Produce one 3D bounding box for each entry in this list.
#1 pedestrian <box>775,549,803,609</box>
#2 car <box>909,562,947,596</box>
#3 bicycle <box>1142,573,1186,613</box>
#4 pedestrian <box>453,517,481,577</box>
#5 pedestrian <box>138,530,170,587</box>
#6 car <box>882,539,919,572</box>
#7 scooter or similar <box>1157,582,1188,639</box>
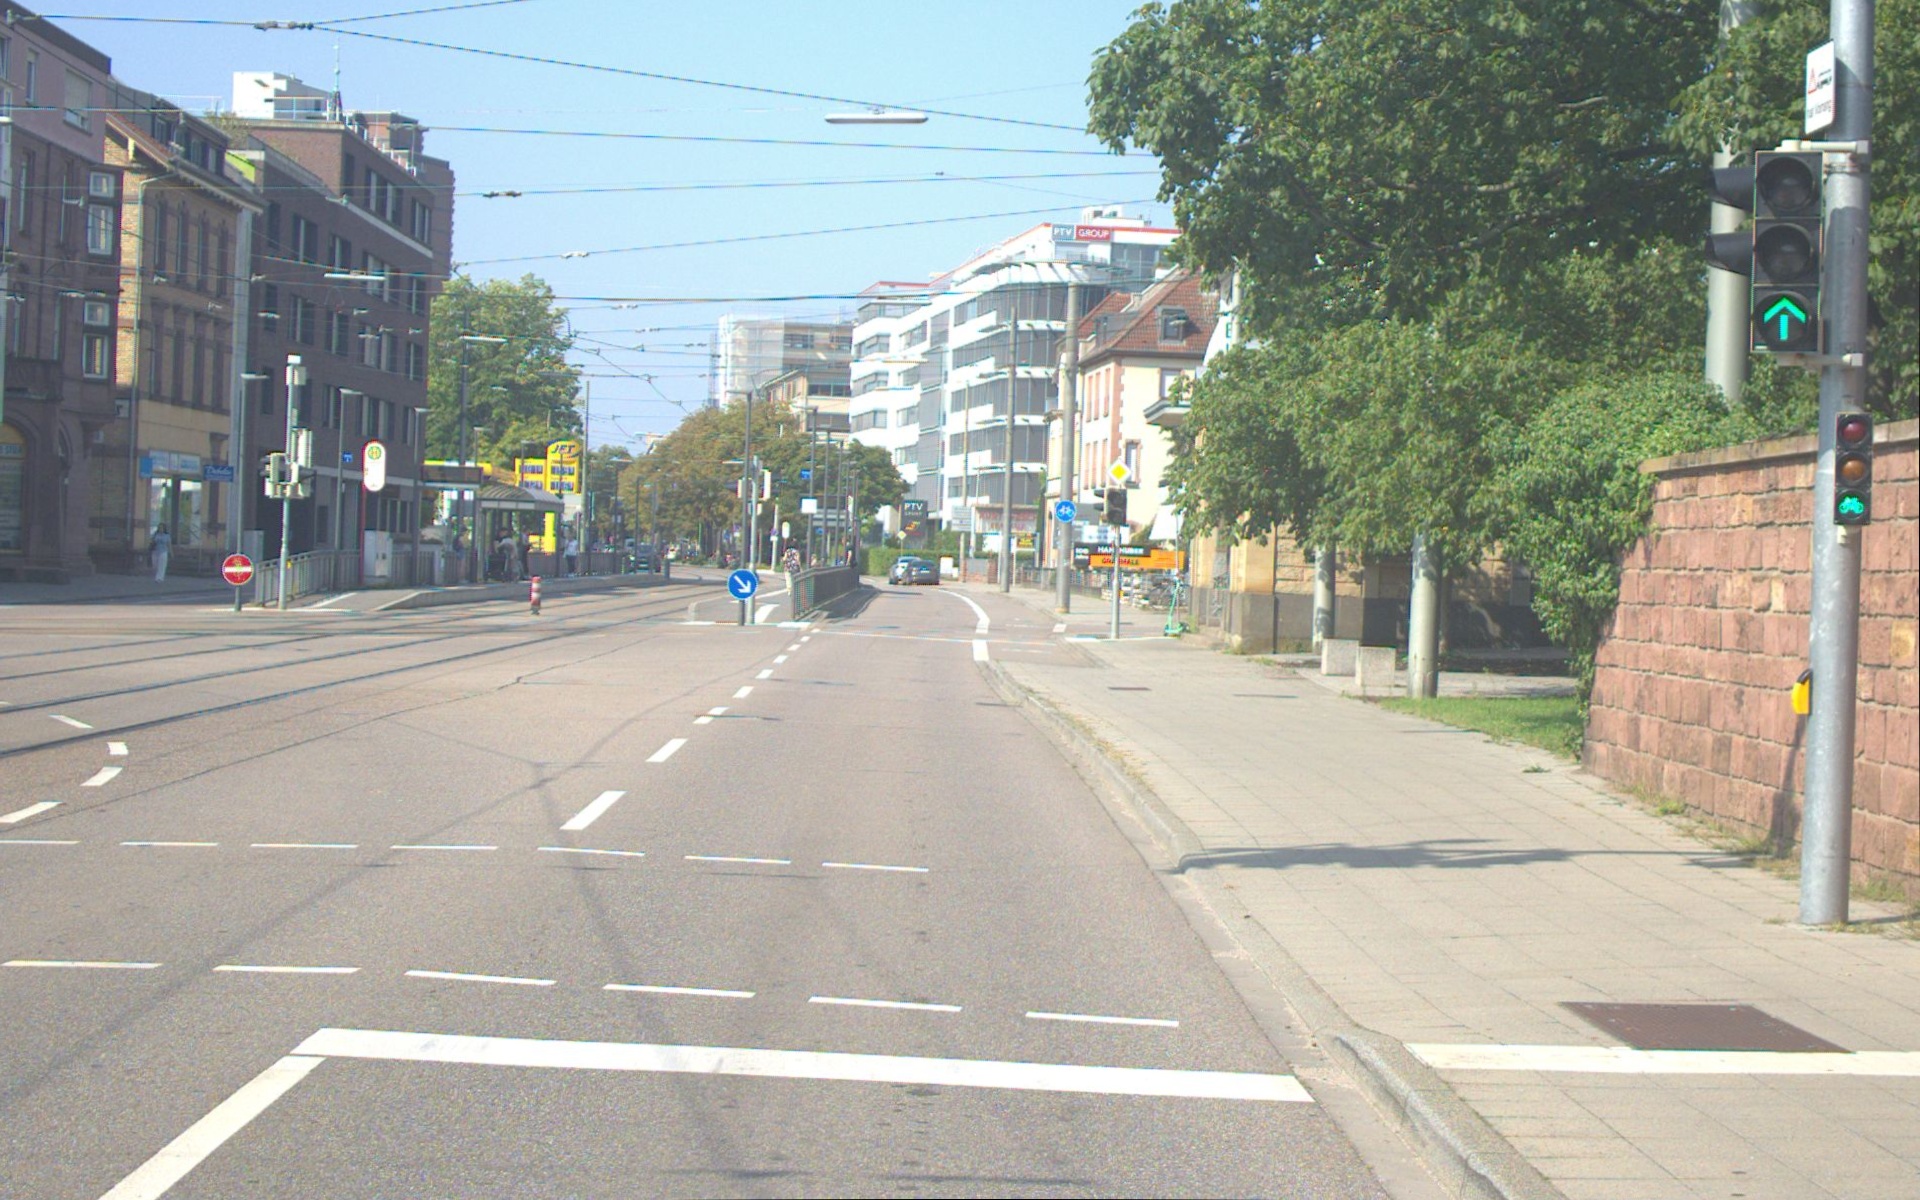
[{"bbox_3d":[-4.875,-0.604,98.142,0.720,1.697,0.884,0,0,1],"label":"pedestrian"},{"bbox_3d":[-1.759,-1.165,191.023,2.011,1.852,4.000,0,0,1],"label":"car"},{"bbox_3d":[5.978,-0.211,101.029,0.731,1.129,2.840,-1,1,-8],"label":"bicycle"},{"bbox_3d":[-14.308,-1.539,99.794,0.708,1.717,0.799,0,0,0],"label":"pedestrian"},{"bbox_3d":[-22.520,-1.159,96.070,0.483,1.554,0.886,3,-1,11],"label":"pedestrian"},{"bbox_3d":[-3.399,-2.559,197.254,2.011,1.852,4.000,0,0,1],"label":"car"},{"bbox_3d":[4.293,0.200,69.539,0.523,1.130,1.511,0,0,0],"label":"scooter or similar"}]
